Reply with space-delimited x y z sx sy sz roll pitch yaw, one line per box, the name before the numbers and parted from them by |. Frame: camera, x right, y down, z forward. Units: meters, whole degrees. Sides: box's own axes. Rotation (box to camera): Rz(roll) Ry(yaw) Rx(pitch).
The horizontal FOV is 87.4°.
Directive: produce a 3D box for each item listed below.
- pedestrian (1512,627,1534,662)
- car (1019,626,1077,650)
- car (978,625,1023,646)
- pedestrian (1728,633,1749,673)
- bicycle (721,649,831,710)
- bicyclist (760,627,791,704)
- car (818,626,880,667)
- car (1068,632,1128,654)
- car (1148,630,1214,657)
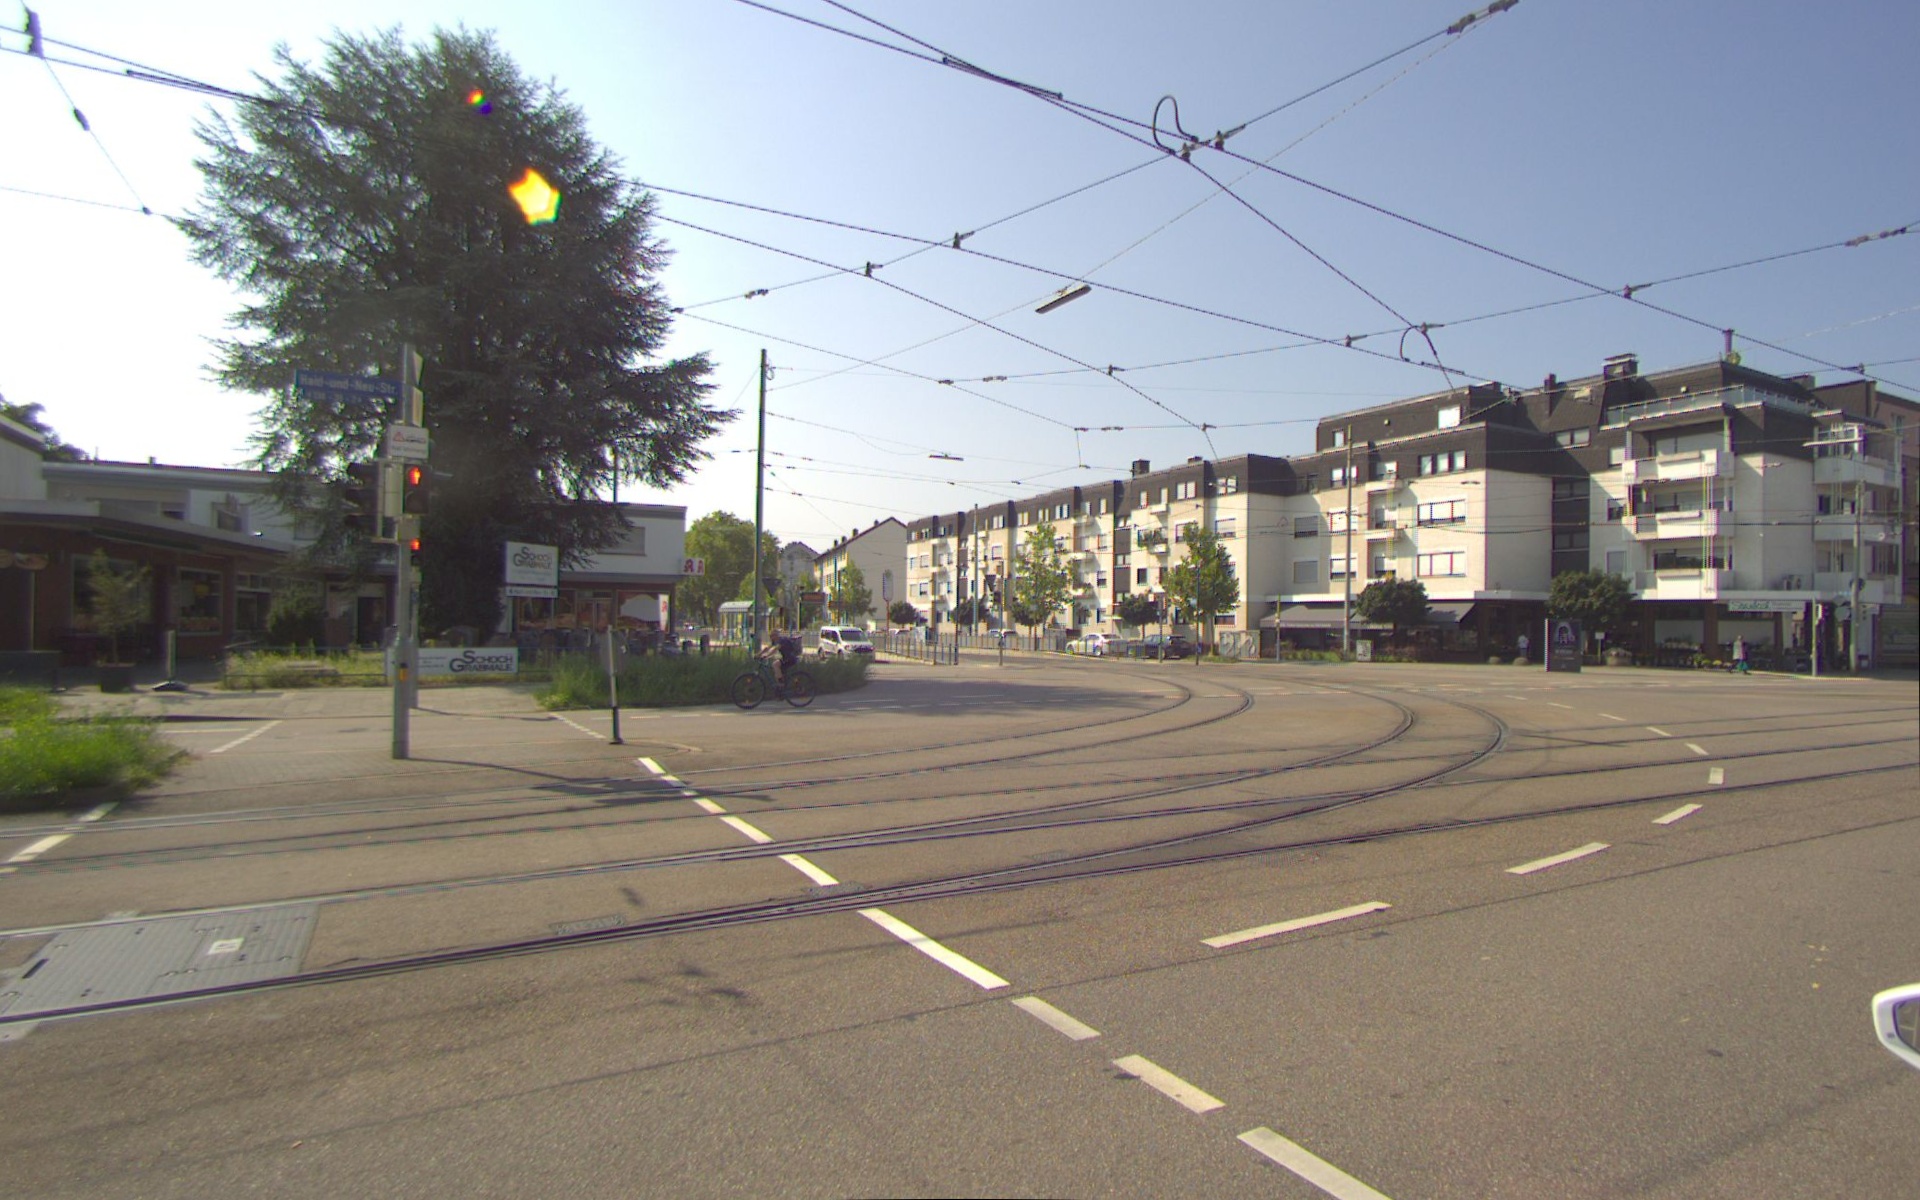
pedestrian | 29.328 2.322 52.325 0.689 1.763 0.677 2 -3 -28
car | 5.990 2.662 68.855 1.848 1.554 4.351 2 -4 -30
car | 2.983 2.688 75.004 1.653 1.500 3.889 2 -4 -29
pedestrian | 35.267 2.398 45.512 0.589 1.768 0.565 -1 -3 28
bicycle | -3.778 1.618 20.719 2.180 1.195 0.573 1 -3 -28
bicyclist | -3.803 1.344 20.719 0.483 1.542 0.566 1 -3 -27
car | -5.638 2.321 50.591 1.800 1.911 3.999 1 -1 -27
car | 8.711 2.745 63.591 1.653 1.316 4.092 2 -4 -29
car | 13.981 2.744 63.717 1.907 1.527 4.091 2 -1 -29
